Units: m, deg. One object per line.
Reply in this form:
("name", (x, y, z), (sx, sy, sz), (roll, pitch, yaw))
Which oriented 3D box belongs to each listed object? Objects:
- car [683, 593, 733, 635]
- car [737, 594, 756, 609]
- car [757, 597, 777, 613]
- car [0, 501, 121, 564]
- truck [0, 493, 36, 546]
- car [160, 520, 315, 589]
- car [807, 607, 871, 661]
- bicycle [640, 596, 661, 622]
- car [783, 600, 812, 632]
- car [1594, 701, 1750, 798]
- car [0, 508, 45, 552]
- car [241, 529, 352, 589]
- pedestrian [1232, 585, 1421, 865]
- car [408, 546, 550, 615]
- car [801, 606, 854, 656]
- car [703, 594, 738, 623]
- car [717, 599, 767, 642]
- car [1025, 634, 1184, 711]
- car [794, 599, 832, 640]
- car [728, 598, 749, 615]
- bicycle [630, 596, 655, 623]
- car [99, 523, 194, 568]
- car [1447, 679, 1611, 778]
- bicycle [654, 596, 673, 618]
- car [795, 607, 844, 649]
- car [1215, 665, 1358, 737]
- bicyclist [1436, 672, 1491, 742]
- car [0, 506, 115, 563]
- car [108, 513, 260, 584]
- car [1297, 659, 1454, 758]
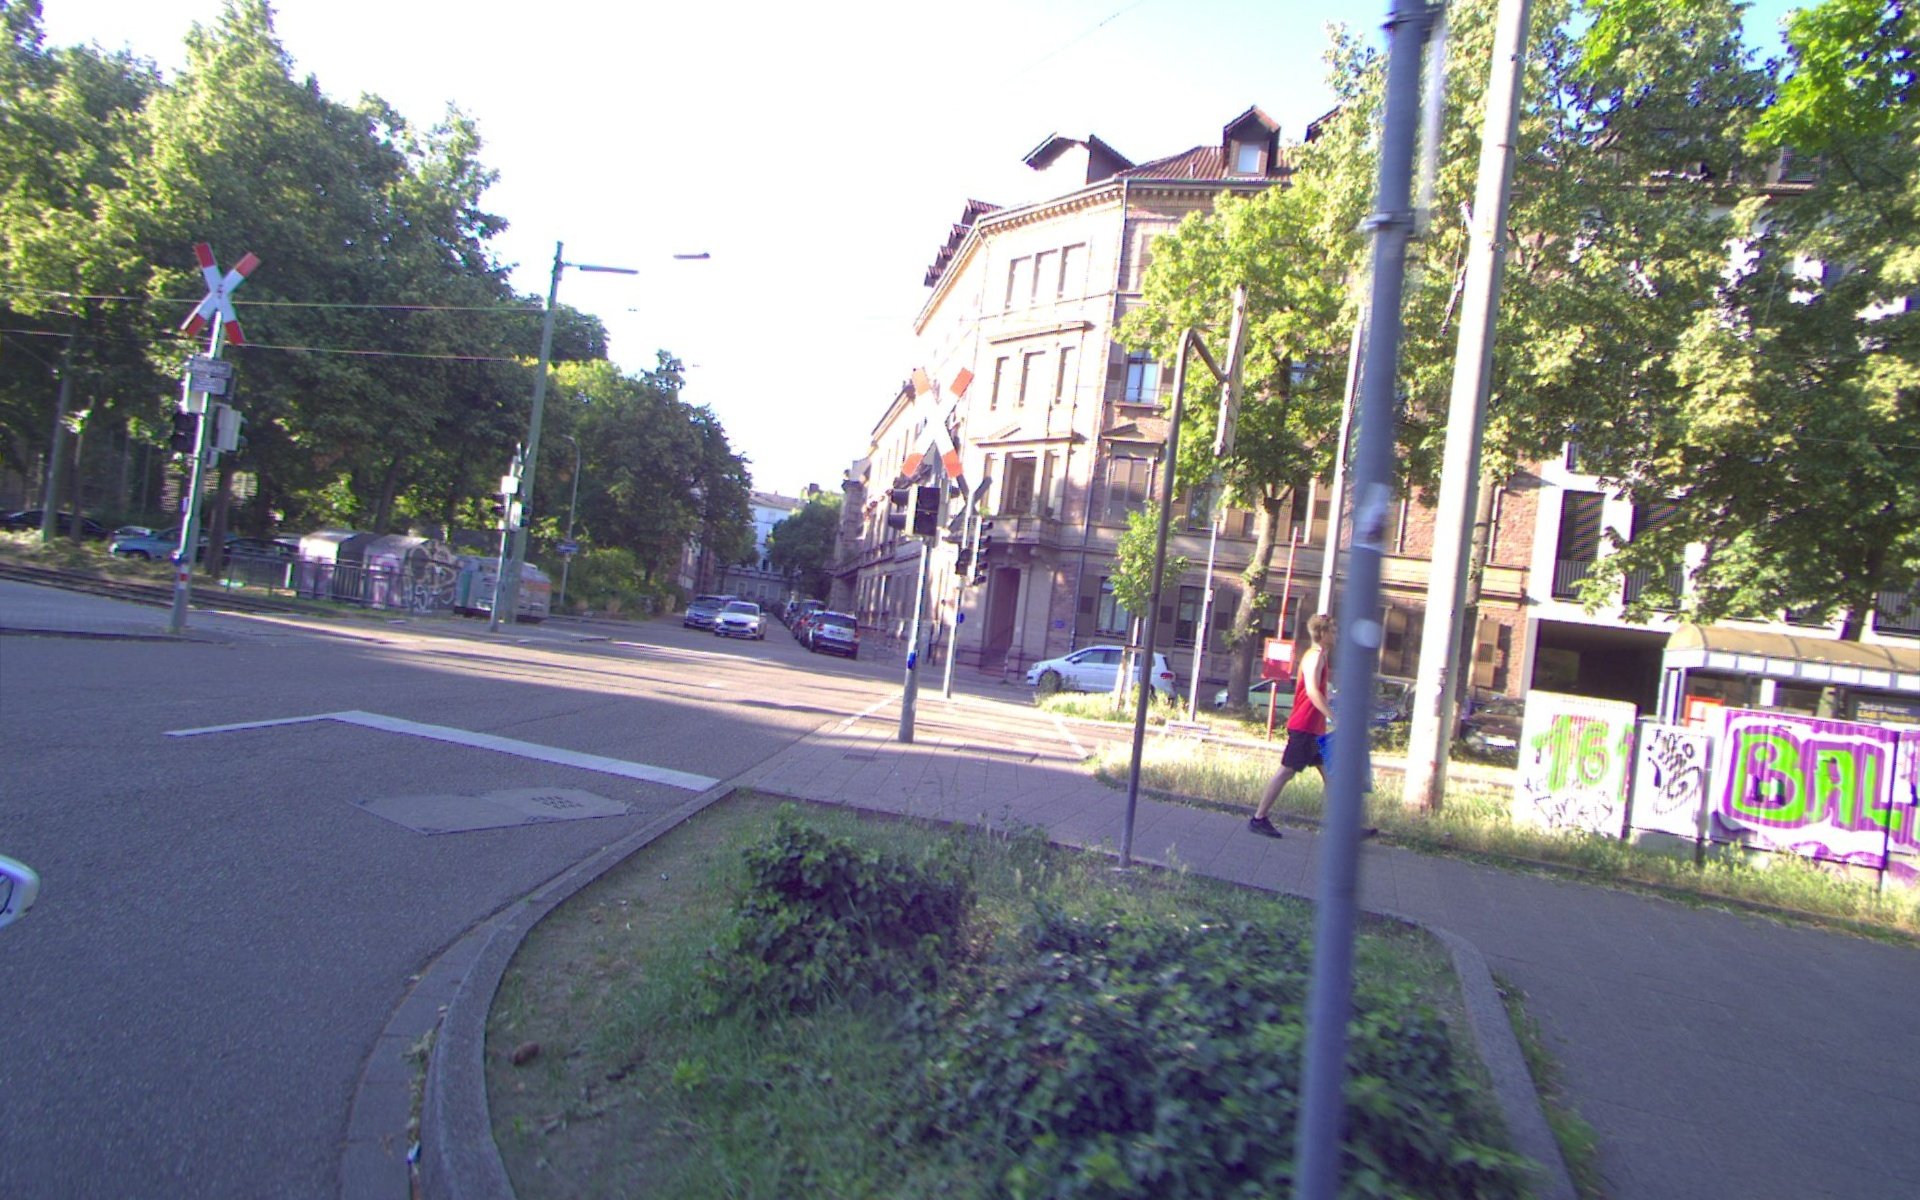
("car", (-11.940, 0.654, 47.810), (1.803, 1.632, 4.284), (11, -2, -11))
("car", (-28.846, 0.229, 135.555), (1.971, 1.702, 3.990), (9, -4, -17))
("car", (-26.194, 0.689, 136.558), (1.971, 1.702, 3.990), (9, -4, -17))
("car", (-31.299, -2.332, 34.274), (1.714, 1.512, 3.817), (4, -6, 42))
("truck", (-48.435, -4.205, 49.702), (4.304, 2.380, 2.374), (7, -1, 23))
("car", (-22.536, -1.401, 31.438), (3.603, 1.462, 1.587), (13, -5, -44))
("car", (-4.779, 1.298, 39.264), (1.892, 1.674, 4.180), (11, -3, -11))
("bicycle", (-14.712, 0.439, 47.880), (0.589, 1.114, 2.623), (7, -2, -11))
("car", (-12.416, 1.236, 76.748), (1.775, 2.095, 3.948), (10, -2, -11))
("car", (14.783, 3.040, 20.774), (1.904, 1.505, 4.529), (7, -1, 43))
("car", (-36.238, -2.810, 36.794), (1.714, 1.405, 3.817), (4, -6, 42))
("car", (-27.274, -1.669, 41.381), (3.828, 1.926, 1.577), (7, -1, 17))
("pedestrian", (2.908, 0.940, 7.982), (1.129, 1.942, 0.905), (7, 0, 23))
("car", (-18.543, -0.734, 38.823), (4.571, 2.027, 1.952), (7, -1, 14))
("car", (-5.865, 1.314, 44.106), (1.803, 1.742, 4.536), (11, -2, -11))
("car", (-15.663, 0.580, 65.972), (1.803, 1.516, 3.925), (11, -2, -11))
("car", (-8.914, 0.820, 41.334), (1.679, 1.474, 4.056), (7, -1, -10))
("car", (4.387, 2.192, 30.328), (4.412, 1.667, 1.879), (7, -4, 15))
("car", (-8.853, 1.138, 60.373), (1.775, 2.095, 3.948), (10, -2, -11))
("car", (-23.760, 0.674, 107.886), (1.803, 1.516, 3.925), (11, -2, -11))
("bicycle", (-14.239, 0.427, 45.206), (0.588, 1.114, 2.624), (7, -2, -9))
("car", (-36.274, -2.433, 44.868), (3.533, 1.484, 1.577), (7, -1, 19))
("car", (12.206, 2.721, 21.438), (1.904, 1.654, 4.529), (7, -1, 43))
("bicycle", (-15.979, 0.375, 54.260), (0.588, 1.114, 2.624), (7, -2, -9))
("car", (-6.947, 1.347, 49.285), (1.776, 1.631, 3.946), (10, -2, -13))
("car", (9.370, 2.915, 29.170), (3.653, 1.505, 1.746), (7, -4, 13))
("bicyclist", (12.772, 2.696, 25.525), (0.858, 1.607, 0.701), (8, -1, 5))
("car", (-32.922, -2.390, 35.985), (1.714, 1.405, 3.817), (4, -6, 42))
("car", (-25.111, -1.631, 32.616), (3.602, 1.579, 1.588), (12, -5, -44))
("car", (9.118, 2.408, 21.879), (1.718, 1.706, 4.404), (6, -3, 41))
